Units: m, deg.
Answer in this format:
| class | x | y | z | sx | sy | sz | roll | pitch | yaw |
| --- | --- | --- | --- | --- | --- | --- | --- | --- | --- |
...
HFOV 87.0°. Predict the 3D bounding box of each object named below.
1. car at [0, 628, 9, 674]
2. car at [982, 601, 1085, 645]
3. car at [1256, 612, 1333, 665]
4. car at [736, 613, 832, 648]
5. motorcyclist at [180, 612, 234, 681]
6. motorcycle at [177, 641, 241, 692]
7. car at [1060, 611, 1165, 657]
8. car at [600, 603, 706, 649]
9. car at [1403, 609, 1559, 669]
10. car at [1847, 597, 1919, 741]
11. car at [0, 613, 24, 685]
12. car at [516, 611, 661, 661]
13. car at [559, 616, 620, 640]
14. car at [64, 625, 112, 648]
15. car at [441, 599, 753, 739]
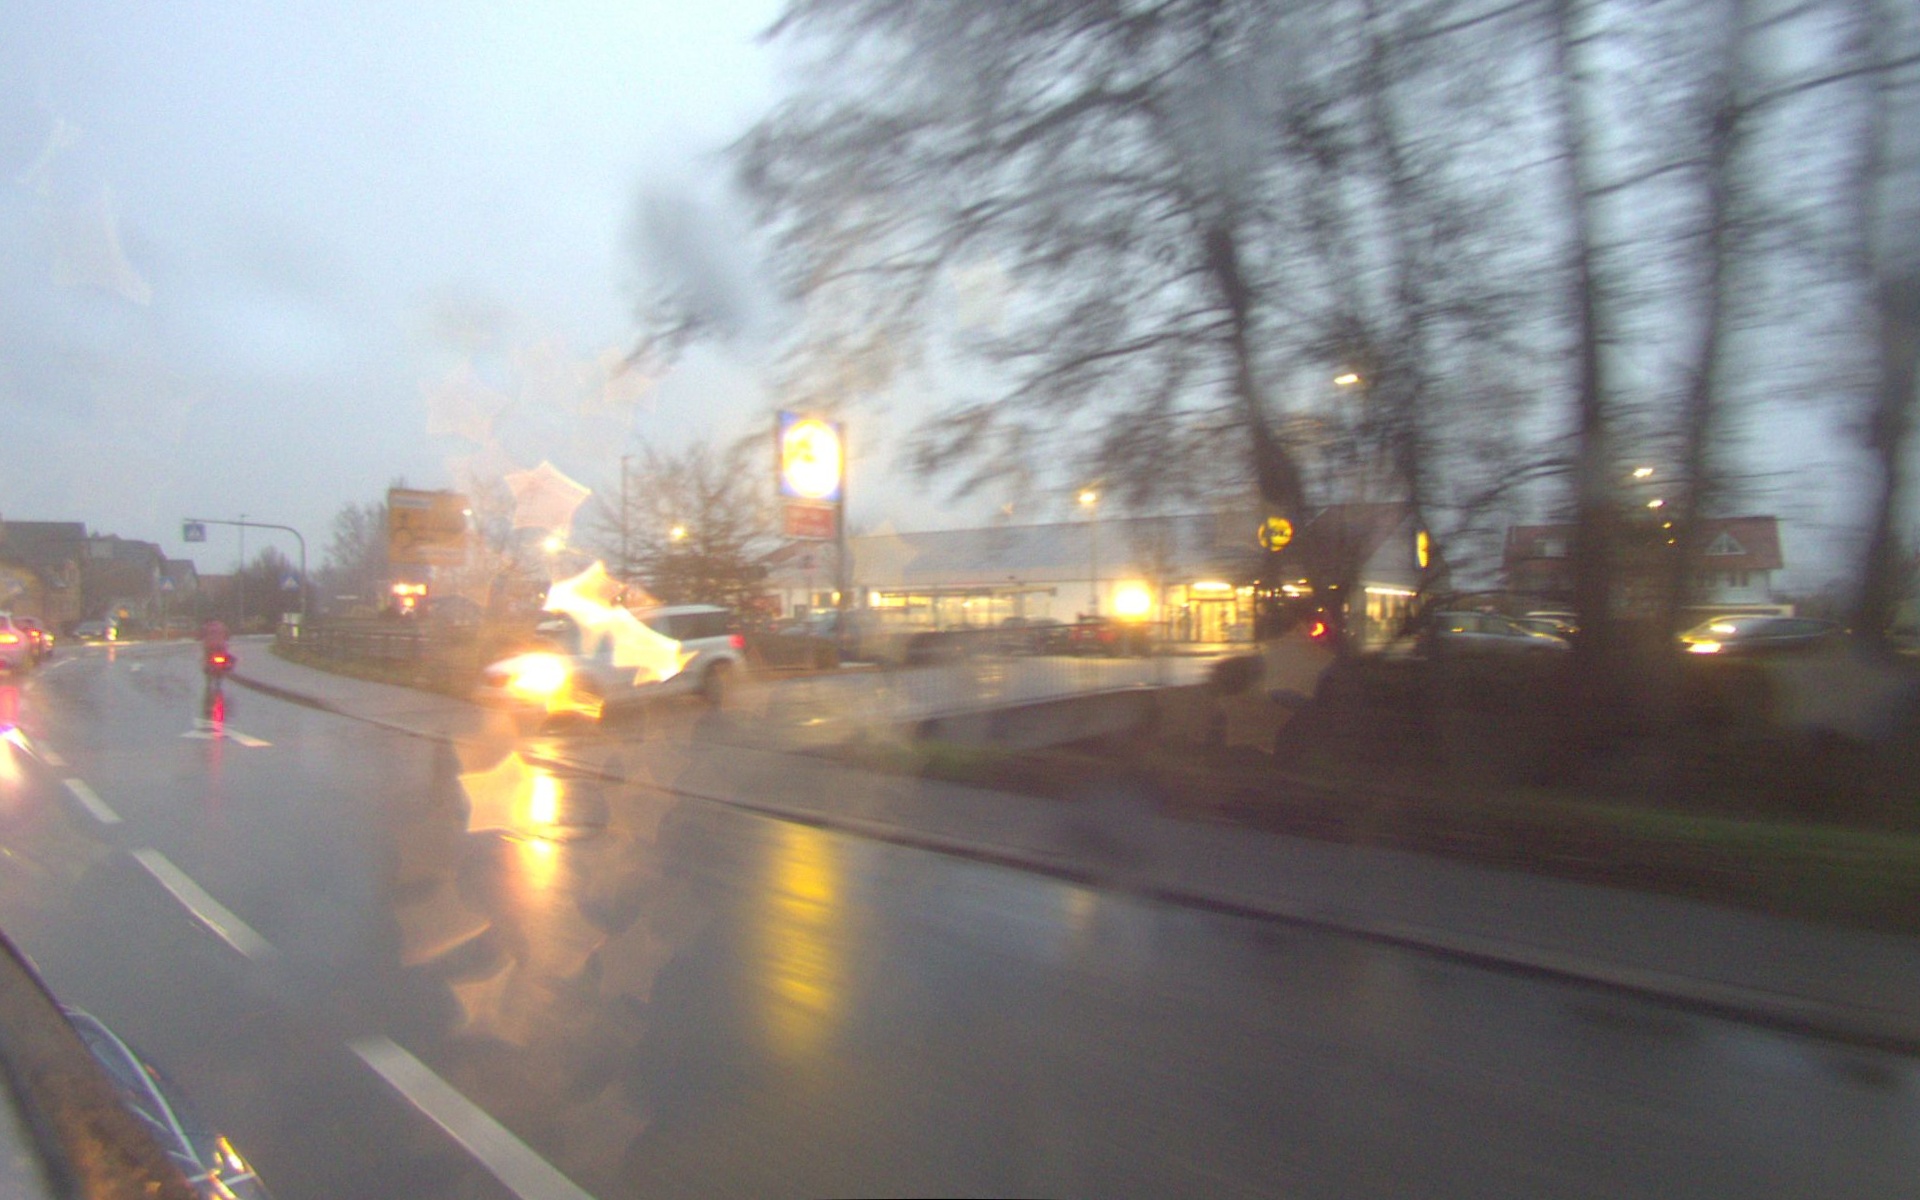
| class | x | y | z | sx | sy | sz | roll | pitch | yaw |
| --- | --- | --- | --- | --- | --- | --- | --- | --- | --- |
| car | -32.232 | 1.687 | 32.690 | 1.640 | 1.497 | 4.010 | 0 | -1 | -35 |
| car | 2.915 | 0.949 | 39.235 | 2.050 | 1.575 | 4.392 | -2 | -3 | 34 |
| car | 11.662 | 1.306 | 35.107 | 1.958 | 1.684 | 4.383 | -2 | -2 | 25 |
| car | -8.302 | 1.491 | 48.147 | 2.050 | 1.575 | 4.392 | -2 | -3 | 34 |
| motorcyclist | -16.927 | 1.020 | 22.761 | 0.855 | 1.496 | 0.909 | 0 | 0 | -45 |
| motorcycle | -16.866 | 1.461 | 22.702 | 0.855 | 1.031 | 2.111 | 0 | 0 | -45 |
| car | 5.599 | 1.267 | 36.726 | 2.050 | 1.575 | 4.392 | -2 | -3 | 34 |
| car | -16.179 | 1.439 | 53.652 | 2.213 | 2.300 | 5.141 | -2 | -3 | 34 |
| car | 15.637 | 1.186 | 30.415 | 3.987 | 1.629 | 1.898 | -3 | -1 | 32 |
| car | 15.215 | 0.973 | 15.000 | 2.119 | 1.992 | 4.615 | -3 | 0 | 29 |
| car | -25.067 | 1.218 | 25.793 | 1.750 | 1.736 | 4.425 | 0 | -1 | -43 |
| car | -13.514 | 1.277 | 37.045 | 2.028 | 1.725 | 4.730 | -1 | -1 | 34 |
| car | -25.180 | 1.891 | 68.679 | 4.780 | 1.548 | 1.667 | 0 | -1 | 39 |
| car | -58.022 | 2.403 | 67.386 | 1.747 | 1.441 | 3.808 | -1 | -1 | -30 |
| car | -5.515 | 0.935 | 15.811 | 1.898 | 1.712 | 4.185 | -1 | 2 | 39 |
